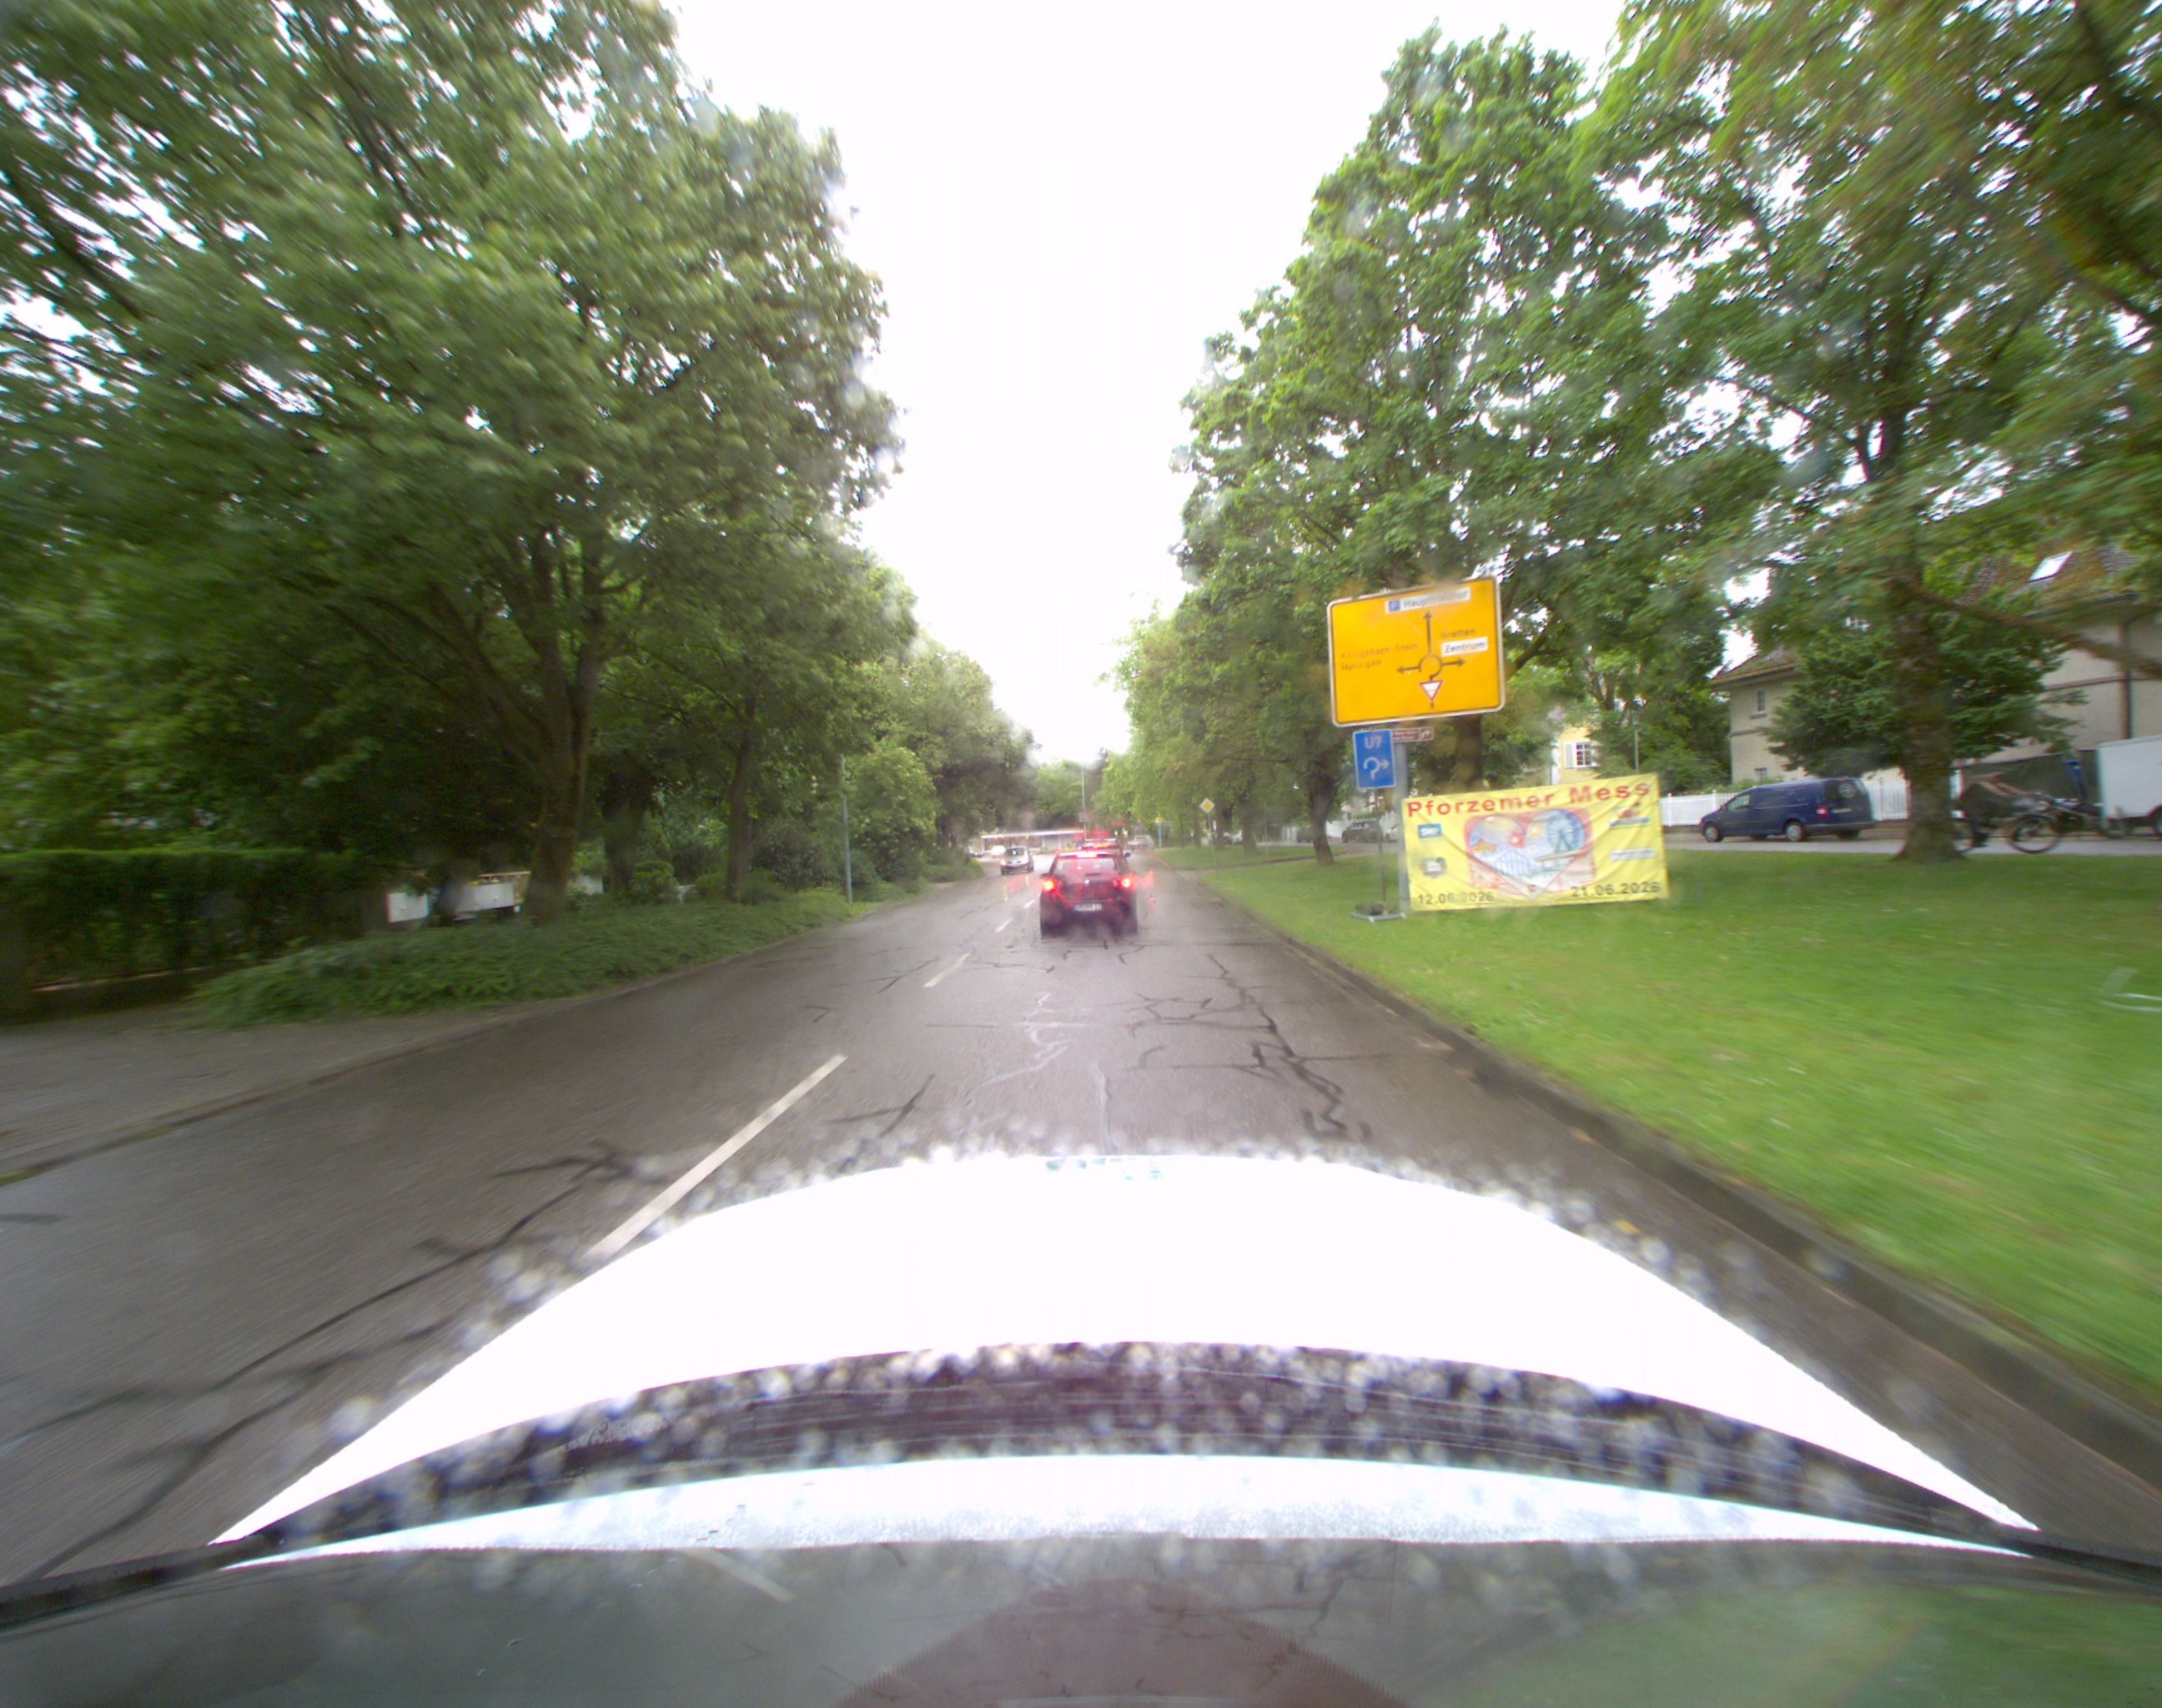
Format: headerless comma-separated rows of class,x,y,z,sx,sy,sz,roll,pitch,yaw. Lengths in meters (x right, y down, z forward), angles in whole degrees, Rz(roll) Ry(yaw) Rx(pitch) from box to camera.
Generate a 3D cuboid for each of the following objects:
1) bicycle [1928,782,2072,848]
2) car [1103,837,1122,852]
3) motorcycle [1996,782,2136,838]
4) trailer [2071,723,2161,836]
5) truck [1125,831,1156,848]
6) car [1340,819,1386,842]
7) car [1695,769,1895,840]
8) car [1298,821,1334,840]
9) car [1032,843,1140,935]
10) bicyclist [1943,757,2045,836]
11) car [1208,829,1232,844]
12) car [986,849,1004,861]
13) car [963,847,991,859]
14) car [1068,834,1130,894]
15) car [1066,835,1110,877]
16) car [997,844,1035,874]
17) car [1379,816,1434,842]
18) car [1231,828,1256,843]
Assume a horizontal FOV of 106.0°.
bicycle,17.181,-0.698,15.301,0.593,1.138,1.864,-3,0,2
car,3.403,-1.010,88.610,1.703,1.513,3.669,-4,1,-3
motorcycle,21.595,-0.953,17.902,1.869,1.092,0.662,-3,2,21
trailer,21.691,-1.495,15.723,1.433,2.154,2.947,-3,0,-3
truck,7.567,-1.847,103.803,2.396,2.004,5.178,-3,0,21
car,20.358,-1.699,59.021,1.796,1.529,4.111,-4,2,-1
car,21.695,-1.446,25.064,1.936,1.809,4.647,-5,2,-1
car,20.468,-2.048,71.082,1.796,1.411,4.111,-4,2,-1
car,0.159,0.584,15.710,1.792,1.515,3.756,-2,0,2
bicyclist,17.168,-1.058,15.346,0.742,1.390,1.000,-3,0,2
car,14.335,-1.815,83.896,1.797,1.385,4.002,-5,1,2
car,-11.939,0.162,112.837,1.775,1.618,3.785,-3,1,-15
car,-15.886,-0.112,123.980,3.926,1.393,1.815,-5,1,34
car,0.636,0.278,27.396,1.848,1.784,4.003,-3,1,2
car,0.374,0.071,38.740,1.848,1.784,4.002,-3,0,2
car,-3.881,0.289,49.286,1.758,1.614,4.142,-4,1,1
car,20.622,-1.577,51.756,1.613,1.409,4.006,-5,2,-3
car,16.745,-1.898,83.945,1.797,1.406,4.002,-5,1,2
